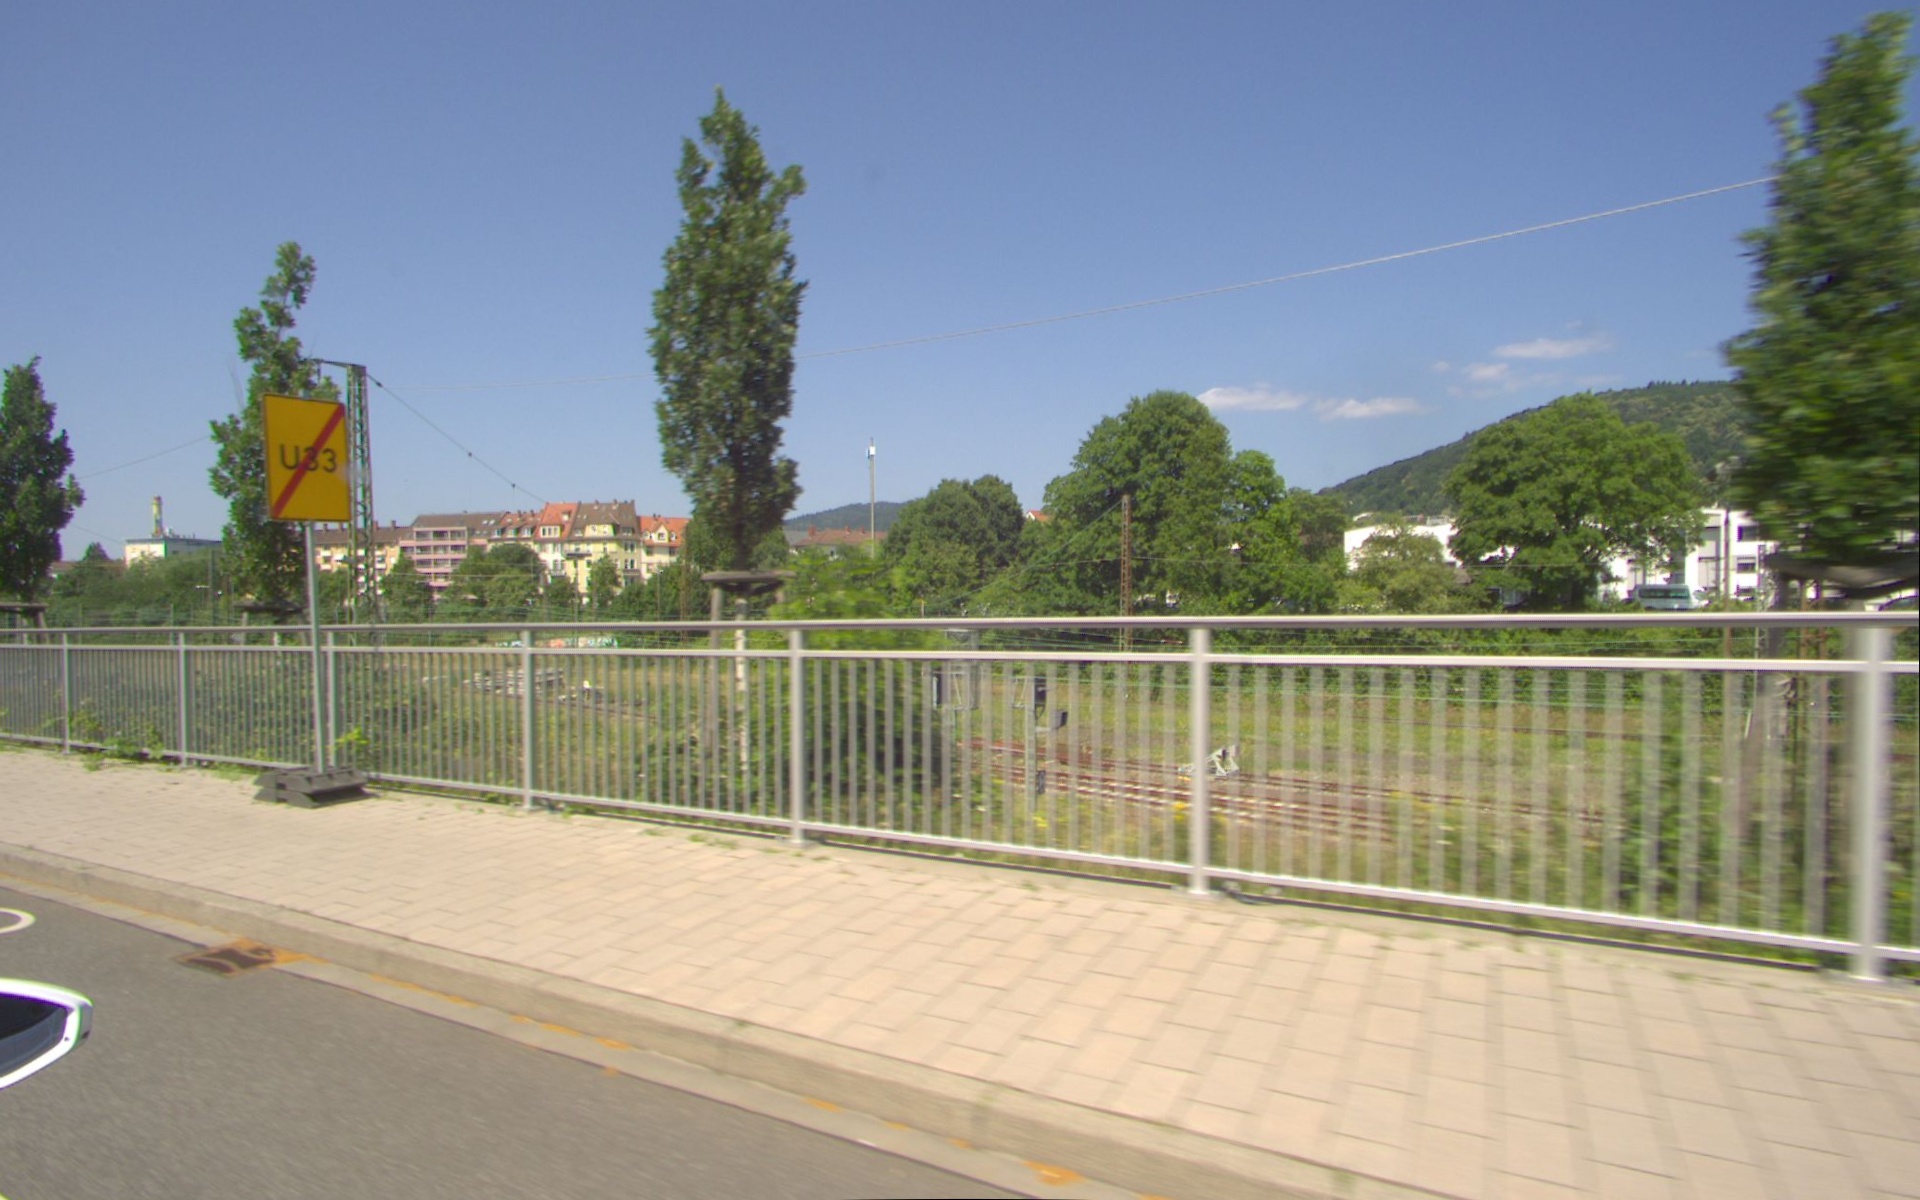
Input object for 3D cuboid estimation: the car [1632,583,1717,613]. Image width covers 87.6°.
[{"bbox_3d":[51.543,-0.142,72.372,4.922,2.141,1.988,0,1,34],"label":"car"}]
